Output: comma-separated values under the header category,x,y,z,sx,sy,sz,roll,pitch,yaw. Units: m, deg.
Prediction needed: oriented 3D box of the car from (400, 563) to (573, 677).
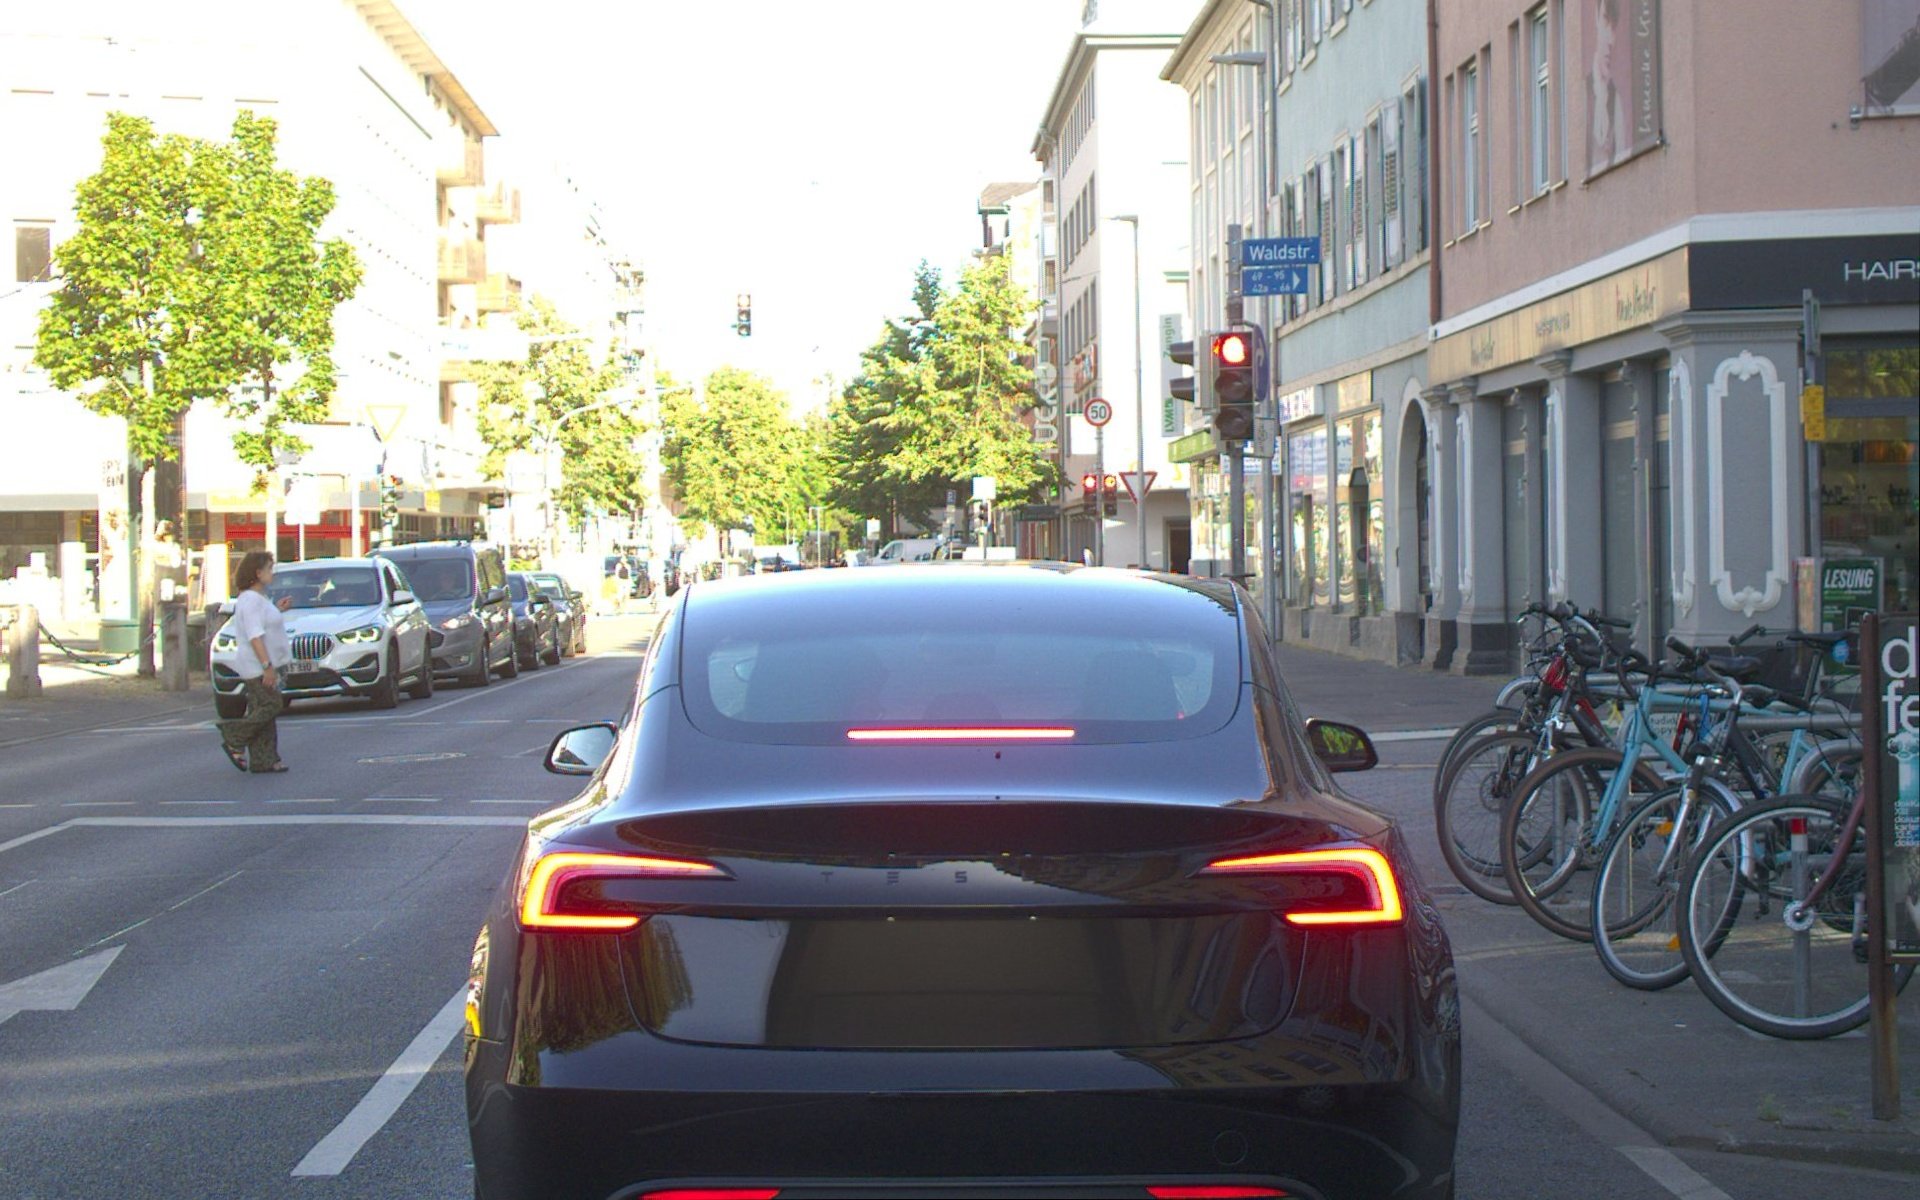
category,x,y,z,sx,sy,sz,roll,pitch,yaw
car,-6.747,0.243,49.440,1.993,1.405,4.675,-4,1,-3

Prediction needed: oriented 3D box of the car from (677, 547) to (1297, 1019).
category,x,y,z,sx,sy,sz,roll,pitch,yaw
car,0.019,0.554,13.131,1.993,1.507,4.176,0,1,-2

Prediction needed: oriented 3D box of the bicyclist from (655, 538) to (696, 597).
category,x,y,z,sx,sy,sz,roll,pitch,yaw
bicyclist,-7.913,-0.906,95.622,1.126,1.623,0.965,0,1,-3

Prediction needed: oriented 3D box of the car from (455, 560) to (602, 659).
category,x,y,z,sx,sy,sz,roll,pitch,yaw
car,-7.112,0.125,57.031,1.993,1.431,4.675,-4,1,-3

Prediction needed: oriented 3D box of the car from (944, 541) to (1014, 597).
category,x,y,z,sx,sy,sz,roll,pitch,yaw
car,0.525,-0.916,100.757,1.993,1.623,4.000,0,1,0

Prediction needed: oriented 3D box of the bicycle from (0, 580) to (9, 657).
category,x,y,z,sx,sy,sz,roll,pitch,yaw
bicycle,-15.713,0.283,52.239,2.323,1.152,0.843,0,1,-5

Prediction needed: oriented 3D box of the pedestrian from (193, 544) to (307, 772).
category,x,y,z,sx,sy,sz,roll,pitch,yaw
pedestrian,-4.901,0.388,23.765,0.747,1.547,0.699,0,1,-10

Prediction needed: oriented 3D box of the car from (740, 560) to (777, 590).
category,x,y,z,sx,sy,sz,roll,pitch,yaw
car,-10.943,-1.363,187.082,1.993,1.631,4.001,0,1,-3

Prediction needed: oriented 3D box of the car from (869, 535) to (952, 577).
category,x,y,z,sx,sy,sz,roll,pitch,yaw
car,-2.422,-2.143,167.561,3.986,2.007,2.000,0,1,-2

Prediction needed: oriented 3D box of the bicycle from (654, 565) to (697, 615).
category,x,y,z,sx,sy,sz,roll,pitch,yaw
bicycle,-7.895,-0.291,95.538,1.111,1.340,4.001,0,1,-3

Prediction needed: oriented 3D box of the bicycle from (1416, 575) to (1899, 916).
category,x,y,z,sx,sy,sz,roll,pitch,yaw
bicycle,2.739,0.561,13.656,1.746,1.262,0.781,-2,1,3

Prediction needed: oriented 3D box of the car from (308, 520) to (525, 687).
category,x,y,z,sx,sy,sz,roll,pitch,yaw
car,-6.661,-0.005,42.612,1.834,1.838,4.674,-4,1,0

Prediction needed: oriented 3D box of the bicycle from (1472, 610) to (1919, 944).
category,x,y,z,sx,sy,sz,roll,pitch,yaw
bicycle,2.806,0.626,12.478,1.798,1.120,0.781,-2,1,5

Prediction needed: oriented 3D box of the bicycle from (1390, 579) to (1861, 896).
category,x,y,z,sx,sy,sz,roll,pitch,yaw
bicycle,2.809,0.573,14.687,1.862,1.253,0.832,-2,1,5

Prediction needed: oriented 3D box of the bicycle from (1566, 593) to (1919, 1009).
category,x,y,z,sx,sy,sz,roll,pitch,yaw
bicycle,2.886,0.624,11.126,1.722,1.263,0.790,-2,1,5

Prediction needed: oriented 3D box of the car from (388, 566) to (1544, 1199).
category,x,y,z,sx,sy,sz,roll,pitch,yaw
car,-0.010,0.657,7.508,1.848,1.450,4.000,0,1,-1

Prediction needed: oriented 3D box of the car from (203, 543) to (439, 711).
category,x,y,z,sx,sy,sz,roll,pitch,yaw
car,-6.688,0.230,36.388,1.807,1.550,4.310,-4,1,-3

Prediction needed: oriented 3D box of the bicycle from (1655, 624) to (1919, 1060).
category,x,y,z,sx,sy,sz,roll,pitch,yaw
bicycle,3.032,0.673,9.995,1.886,1.189,0.691,-2,1,5
